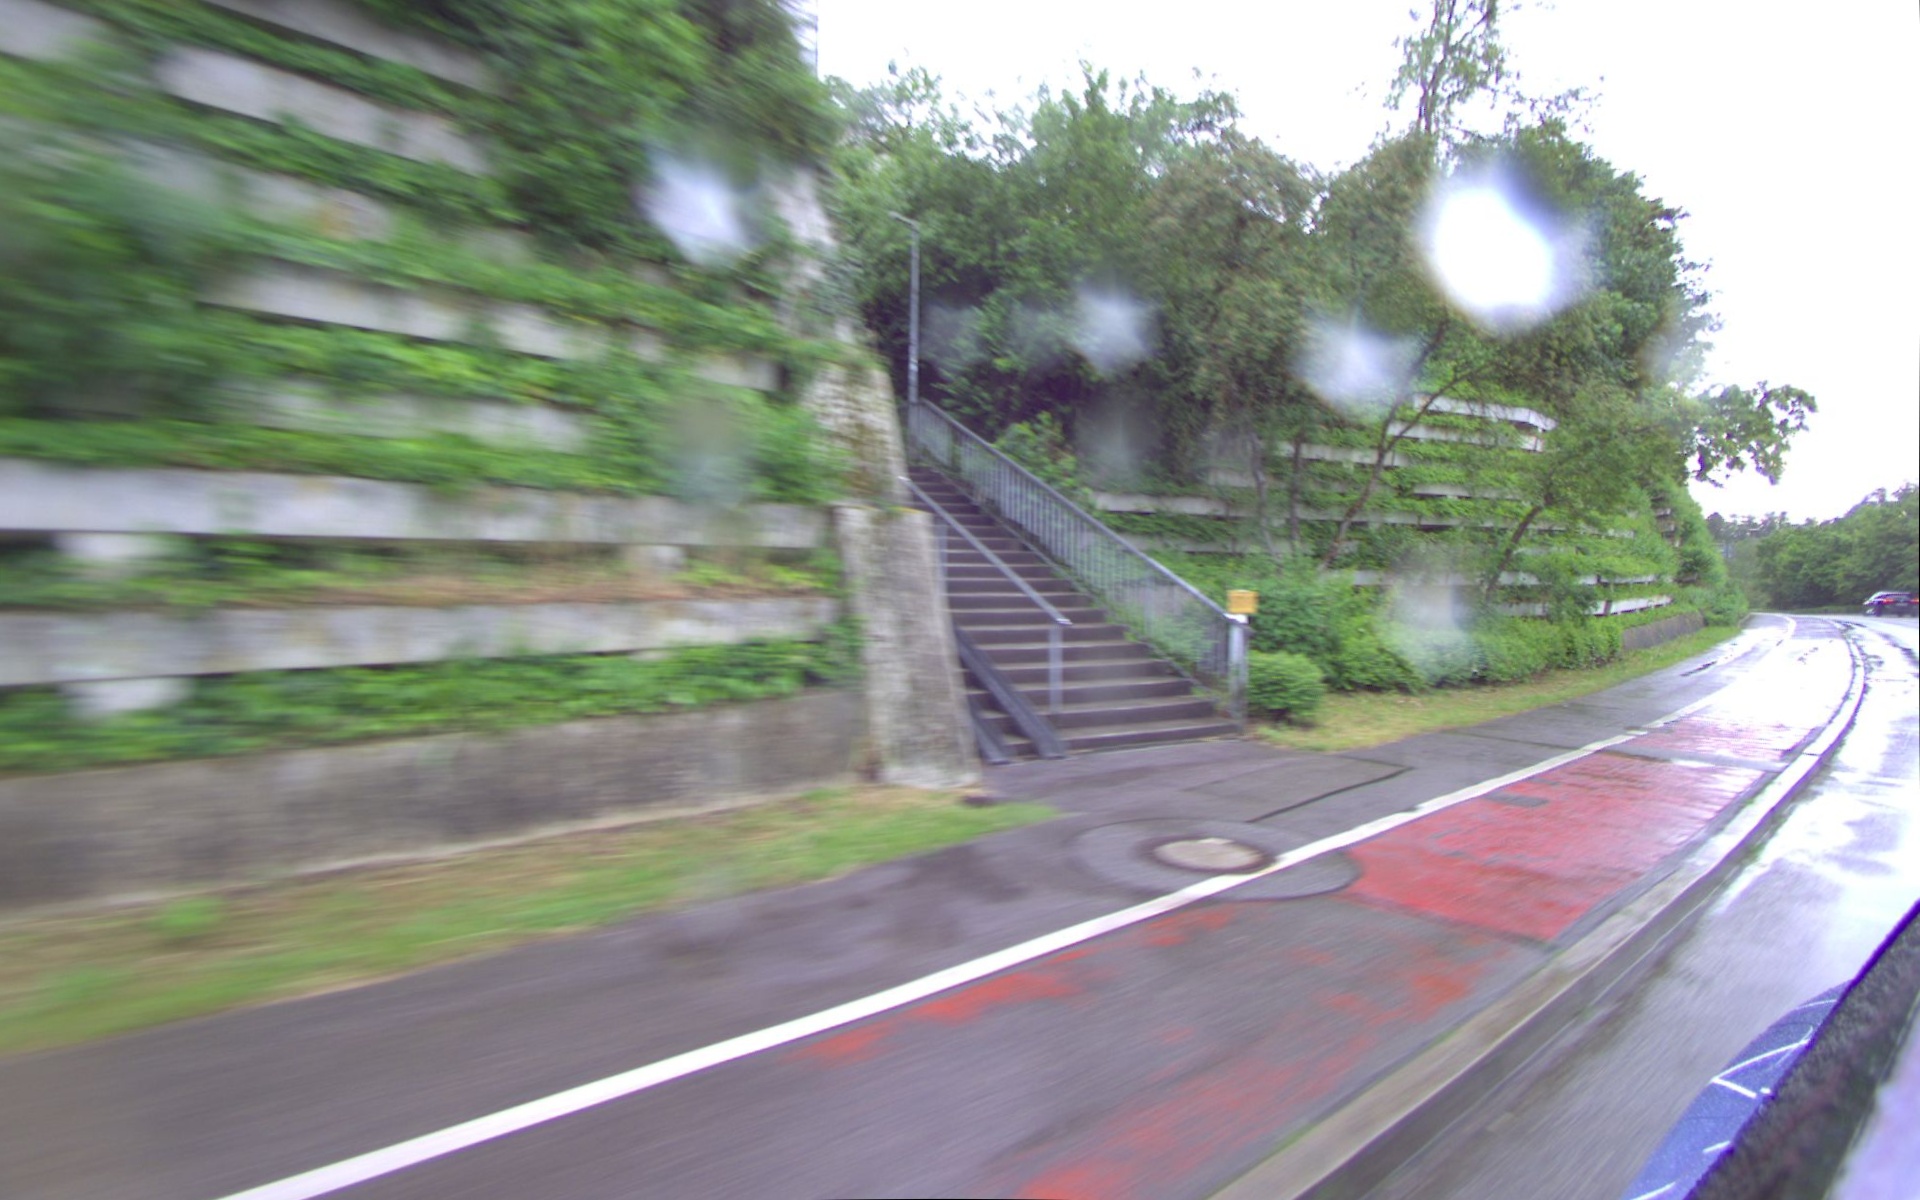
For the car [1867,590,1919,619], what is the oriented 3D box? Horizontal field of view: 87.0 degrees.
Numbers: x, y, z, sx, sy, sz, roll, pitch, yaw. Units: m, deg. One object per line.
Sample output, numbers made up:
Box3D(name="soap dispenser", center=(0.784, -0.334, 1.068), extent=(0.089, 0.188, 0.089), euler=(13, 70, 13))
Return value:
Box3D(name="car", center=(52.552, 0.228, 56.753), extent=(1.716, 1.480, 4.491), euler=(0, 1, 32))
